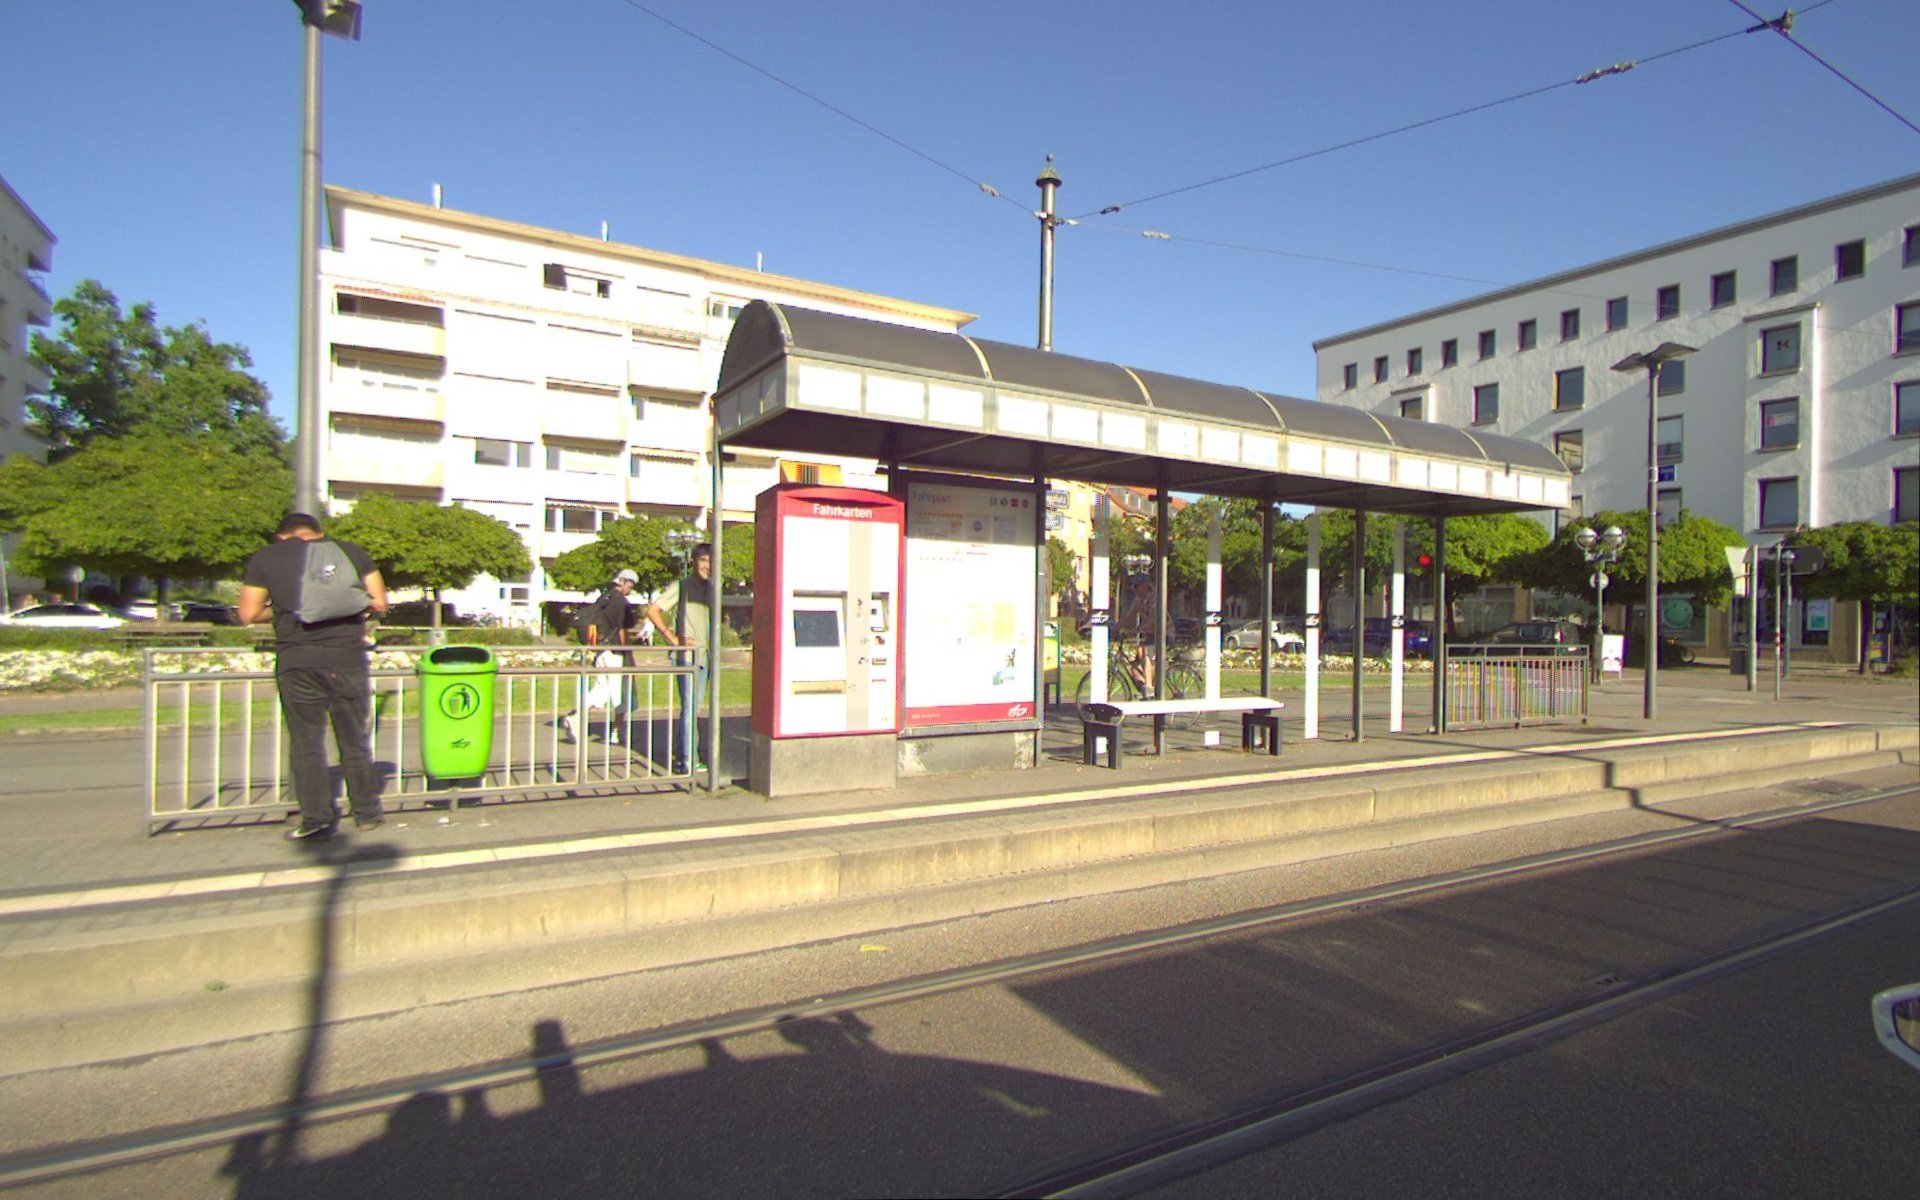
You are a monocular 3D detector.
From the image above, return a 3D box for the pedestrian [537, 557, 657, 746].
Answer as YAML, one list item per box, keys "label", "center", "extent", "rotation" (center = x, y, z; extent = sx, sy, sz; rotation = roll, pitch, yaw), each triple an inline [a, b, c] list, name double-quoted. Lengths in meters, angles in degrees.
- label: "pedestrian"
  center: [-3.449, 0.482, 9.646]
  extent: [0.958, 1.702, 0.994]
  rotation: [0, -2, -14]

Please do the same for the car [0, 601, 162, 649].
- label: "car"
  center: [-25.588, 0.718, 29.015]
  extent: [3.672, 1.318, 1.984]
  rotation: [1, -1, -30]

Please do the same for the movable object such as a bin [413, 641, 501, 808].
- label: "movable object such as a bin"
  center: [-2.780, 0.670, 5.560]
  extent: [0.411, 0.871, 0.335]
  rotation: [1, -1, -27]

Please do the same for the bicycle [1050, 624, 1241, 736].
- label: "bicycle"
  center: [2.026, 0.855, 10.966]
  extent: [1.947, 1.128, 0.727]
  rotation: [2, 0, -20]

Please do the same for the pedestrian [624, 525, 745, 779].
- label: "pedestrian"
  center: [-2.076, 0.387, 7.568]
  extent: [0.760, 1.797, 0.613]
  rotation: [1, -3, -28]

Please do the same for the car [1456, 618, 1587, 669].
- label: "car"
  center: [21.058, 1.598, 37.839]
  extent: [1.804, 1.728, 3.968]
  rotation: [1, -1, -30]

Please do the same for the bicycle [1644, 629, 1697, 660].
- label: "bicycle"
  center: [28.201, 1.755, 39.858]
  extent: [2.586, 1.206, 0.615]
  rotation: [1, -1, -27]

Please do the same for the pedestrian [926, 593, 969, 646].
- label: "pedestrian"
  center: [-0.495, 0.780, 39.577]
  extent: [1.219, 2.040, 1.214]
  rotation: [1, -1, -30]

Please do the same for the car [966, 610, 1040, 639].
- label: "car"
  center: [2.105, 1.227, 49.473]
  extent: [3.271, 1.372, 1.638]
  rotation: [1, -1, -29]

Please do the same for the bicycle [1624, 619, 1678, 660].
- label: "bicycle"
  center: [27.876, 1.601, 40.503]
  extent: [2.585, 1.628, 0.616]
  rotation: [1, -1, -26]

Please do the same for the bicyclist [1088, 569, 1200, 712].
- label: "bicyclist"
  center: [1.992, 0.428, 10.934]
  extent: [0.864, 1.475, 0.826]
  rotation: [2, 0, -20]

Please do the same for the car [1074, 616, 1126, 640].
- label: "car"
  center: [9.373, 1.858, 67.131]
  extent: [1.887, 1.514, 4.343]
  rotation: [2, 0, 31]

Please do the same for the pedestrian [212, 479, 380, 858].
- label: "pedestrian"
  center: [-3.269, 0.327, 4.997]
  extent: [0.599, 1.740, 0.546]
  rotation: [1, -3, -28]

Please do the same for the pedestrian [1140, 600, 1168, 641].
- label: "pedestrian"
  center: [8.886, 0.924, 46.028]
  extent: [0.856, 1.841, 0.944]
  rotation: [1, 0, -19]

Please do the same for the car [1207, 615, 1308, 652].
- label: "car"
  center: [14.145, 1.577, 47.952]
  extent: [1.835, 1.628, 4.581]
  rotation: [1, -1, -31]

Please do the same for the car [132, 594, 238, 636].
- label: "car"
  center: [-28.672, 0.558, 37.248]
  extent: [2.899, 1.506, 1.407]
  rotation: [1, -1, -30]

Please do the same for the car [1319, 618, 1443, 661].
- label: "car"
  center: [17.856, 1.635, 42.828]
  extent: [1.978, 1.684, 4.581]
  rotation: [1, -1, -31]

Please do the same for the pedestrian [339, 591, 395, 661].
- label: "pedestrian"
  center: [-15.658, 0.684, 26.553]
  extent: [1.161, 1.811, 1.074]
  rotation: [1, 0, -26]
